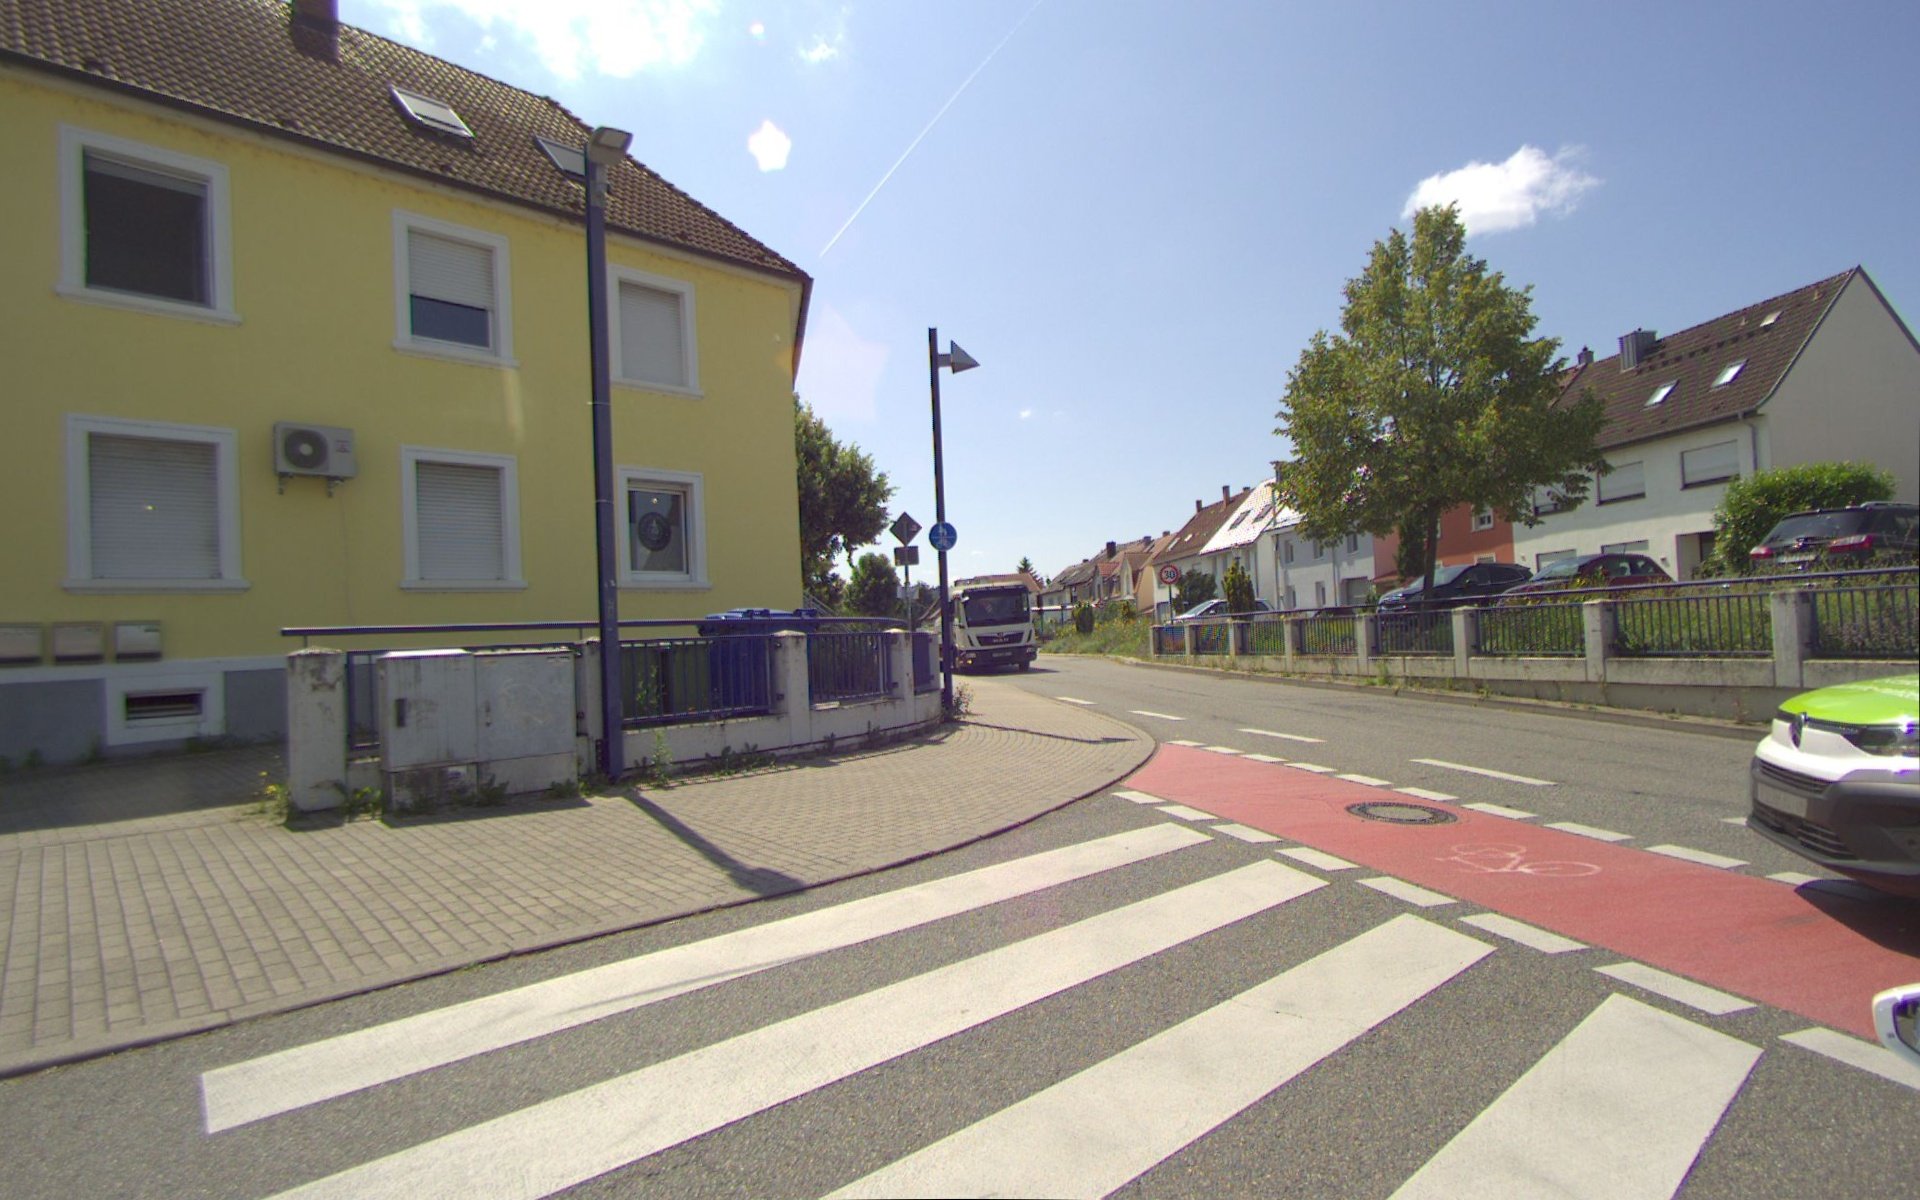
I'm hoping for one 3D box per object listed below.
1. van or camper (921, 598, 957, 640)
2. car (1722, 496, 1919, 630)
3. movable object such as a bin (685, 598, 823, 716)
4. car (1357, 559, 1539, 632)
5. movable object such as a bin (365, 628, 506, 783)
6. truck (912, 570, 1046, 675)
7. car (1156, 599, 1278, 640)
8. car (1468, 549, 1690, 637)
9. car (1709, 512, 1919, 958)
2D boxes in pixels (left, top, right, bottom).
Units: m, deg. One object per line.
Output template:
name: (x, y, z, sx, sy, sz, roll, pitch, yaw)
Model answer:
van or camper: (-1.446, 1.277, 67.330, 1.966, 2.665, 5.389, 1, -1, -5)
car: (13.907, -0.512, 15.189, 3.936, 1.821, 1.866, 0, 1, -18)
movable object such as a bin: (-2.278, 0.614, 11.199, 0.828, 1.229, 1.273, -3, -2, 33)
car: (11.454, -0.109, 23.636, 3.552, 1.608, 1.866, 0, 1, -18)
movable object such as a bin: (-4.583, 0.883, 8.774, 0.895, 1.241, 0.877, 0, -2, -42)
truck: (0.382, 0.758, 32.872, 2.572, 2.914, 8.056, -2, -1, -12)
car: (9.836, 0.733, 38.502, 4.181, 1.508, 1.744, 0, 1, -11)
car: (12.217, -0.134, 19.889, 3.552, 1.608, 1.866, 0, 1, -18)
car: (6.206, 0.577, 4.287, 4.472, 1.880, 1.817, 1, 1, 23)
